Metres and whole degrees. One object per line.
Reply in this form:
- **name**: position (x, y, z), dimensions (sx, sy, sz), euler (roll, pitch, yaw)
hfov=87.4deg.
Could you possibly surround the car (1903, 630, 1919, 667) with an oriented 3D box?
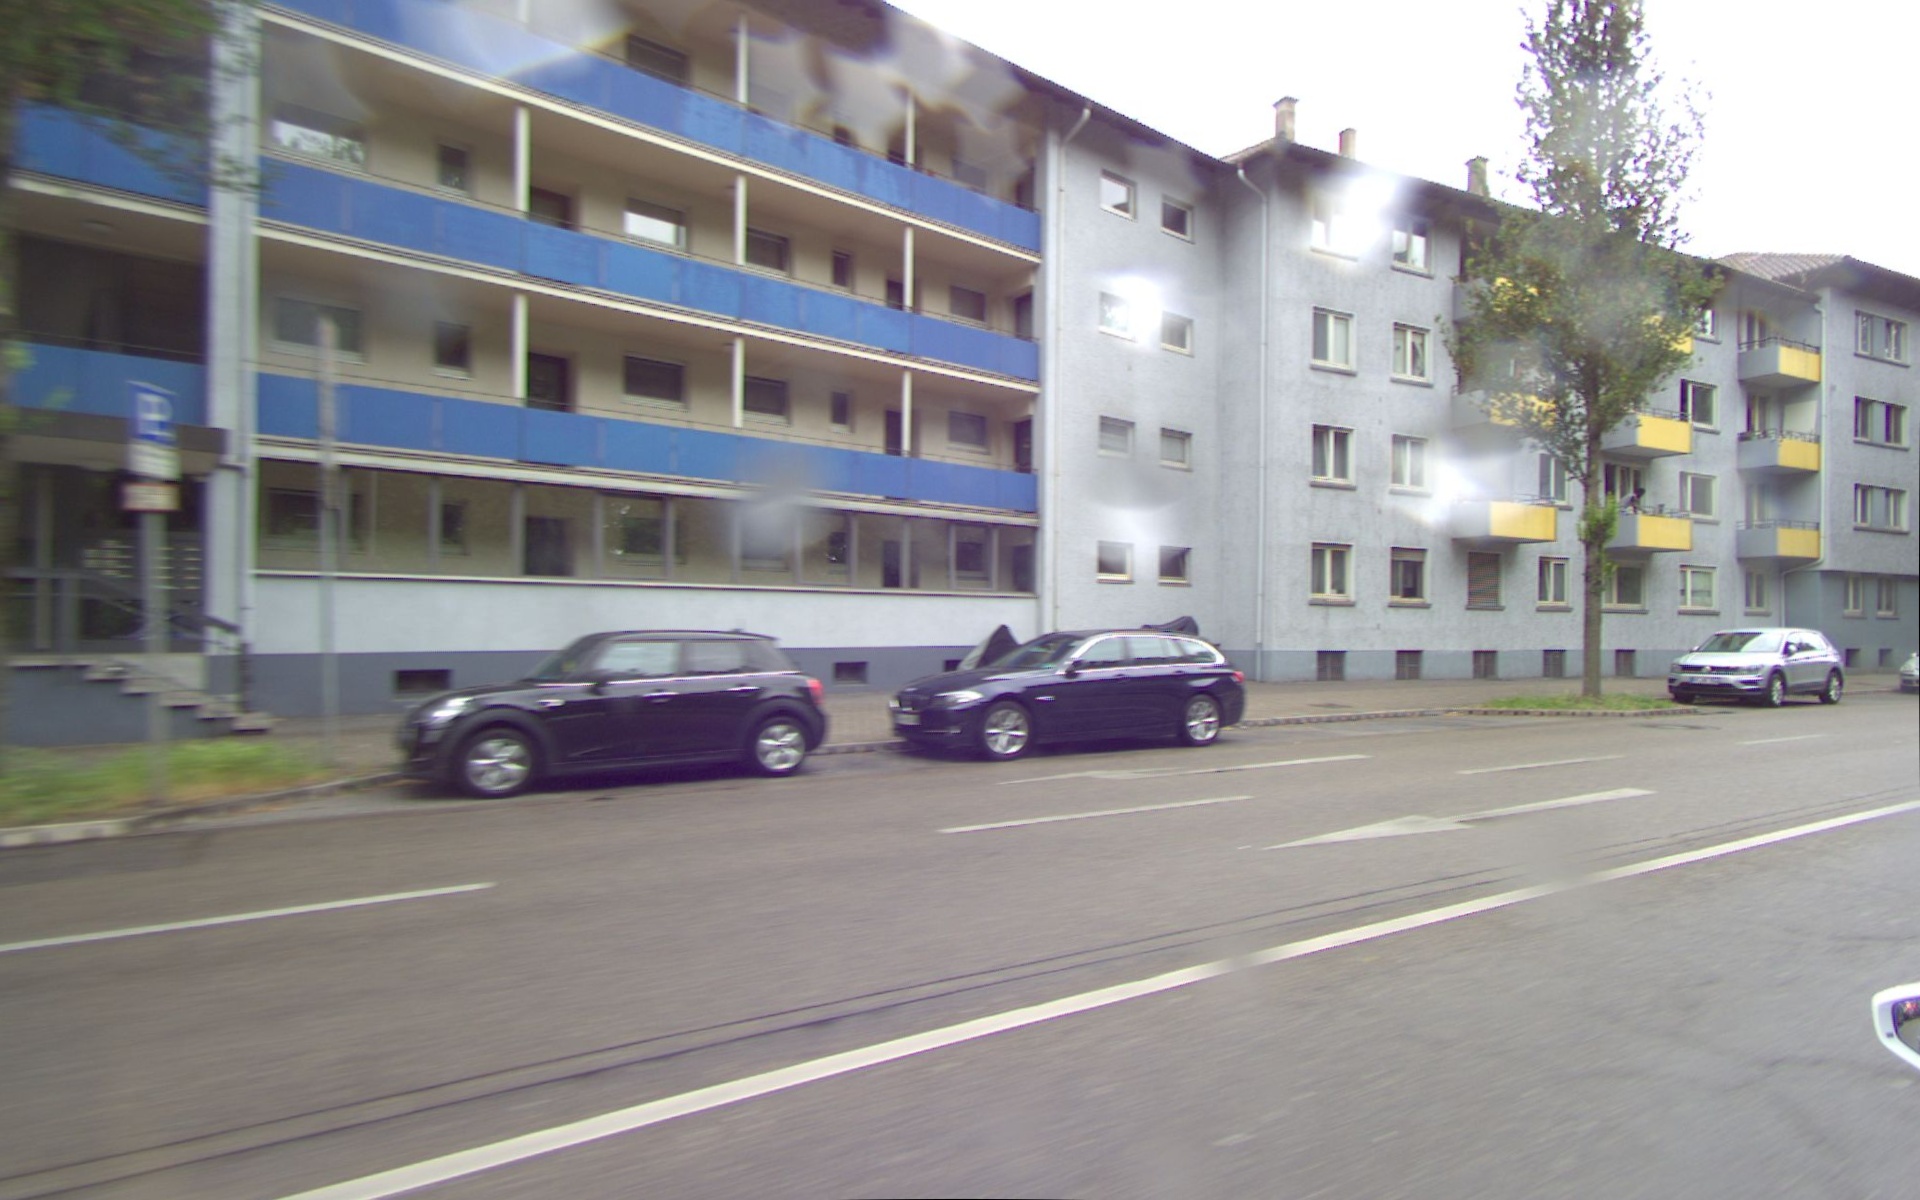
- **car**: position (43.899, 2.140, 43.453), dimensions (1.900, 1.600, 4.138), euler (1, -1, -24)

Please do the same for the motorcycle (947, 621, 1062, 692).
- **motorcycle**: position (0.860, 1.054, 19.092), dimensions (2.214, 1.271, 0.670), euler (2, 1, -36)

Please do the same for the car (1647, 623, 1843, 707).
- **car**: position (16.784, 1.337, 21.435), dimensions (4.479, 1.625, 1.756), euler (1, -2, -30)

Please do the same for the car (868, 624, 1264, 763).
- **car**: position (1.420, 1.087, 12.584), dimensions (4.836, 1.458, 1.812), euler (2, -3, -31)

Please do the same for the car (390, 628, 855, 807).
- **car**: position (-3.225, 1.012, 9.836), dimensions (4.042, 1.421, 1.771), euler (1, -3, -32)

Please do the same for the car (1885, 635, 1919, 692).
- **car**: position (26.533, 1.687, 26.662), dimensions (4.154, 1.472, 1.717), euler (2, -2, -29)

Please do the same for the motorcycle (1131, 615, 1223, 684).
- **motorcycle**: position (4.802, 1.073, 22.124), dimensions (2.216, 1.433, 0.670), euler (2, 1, -38)
